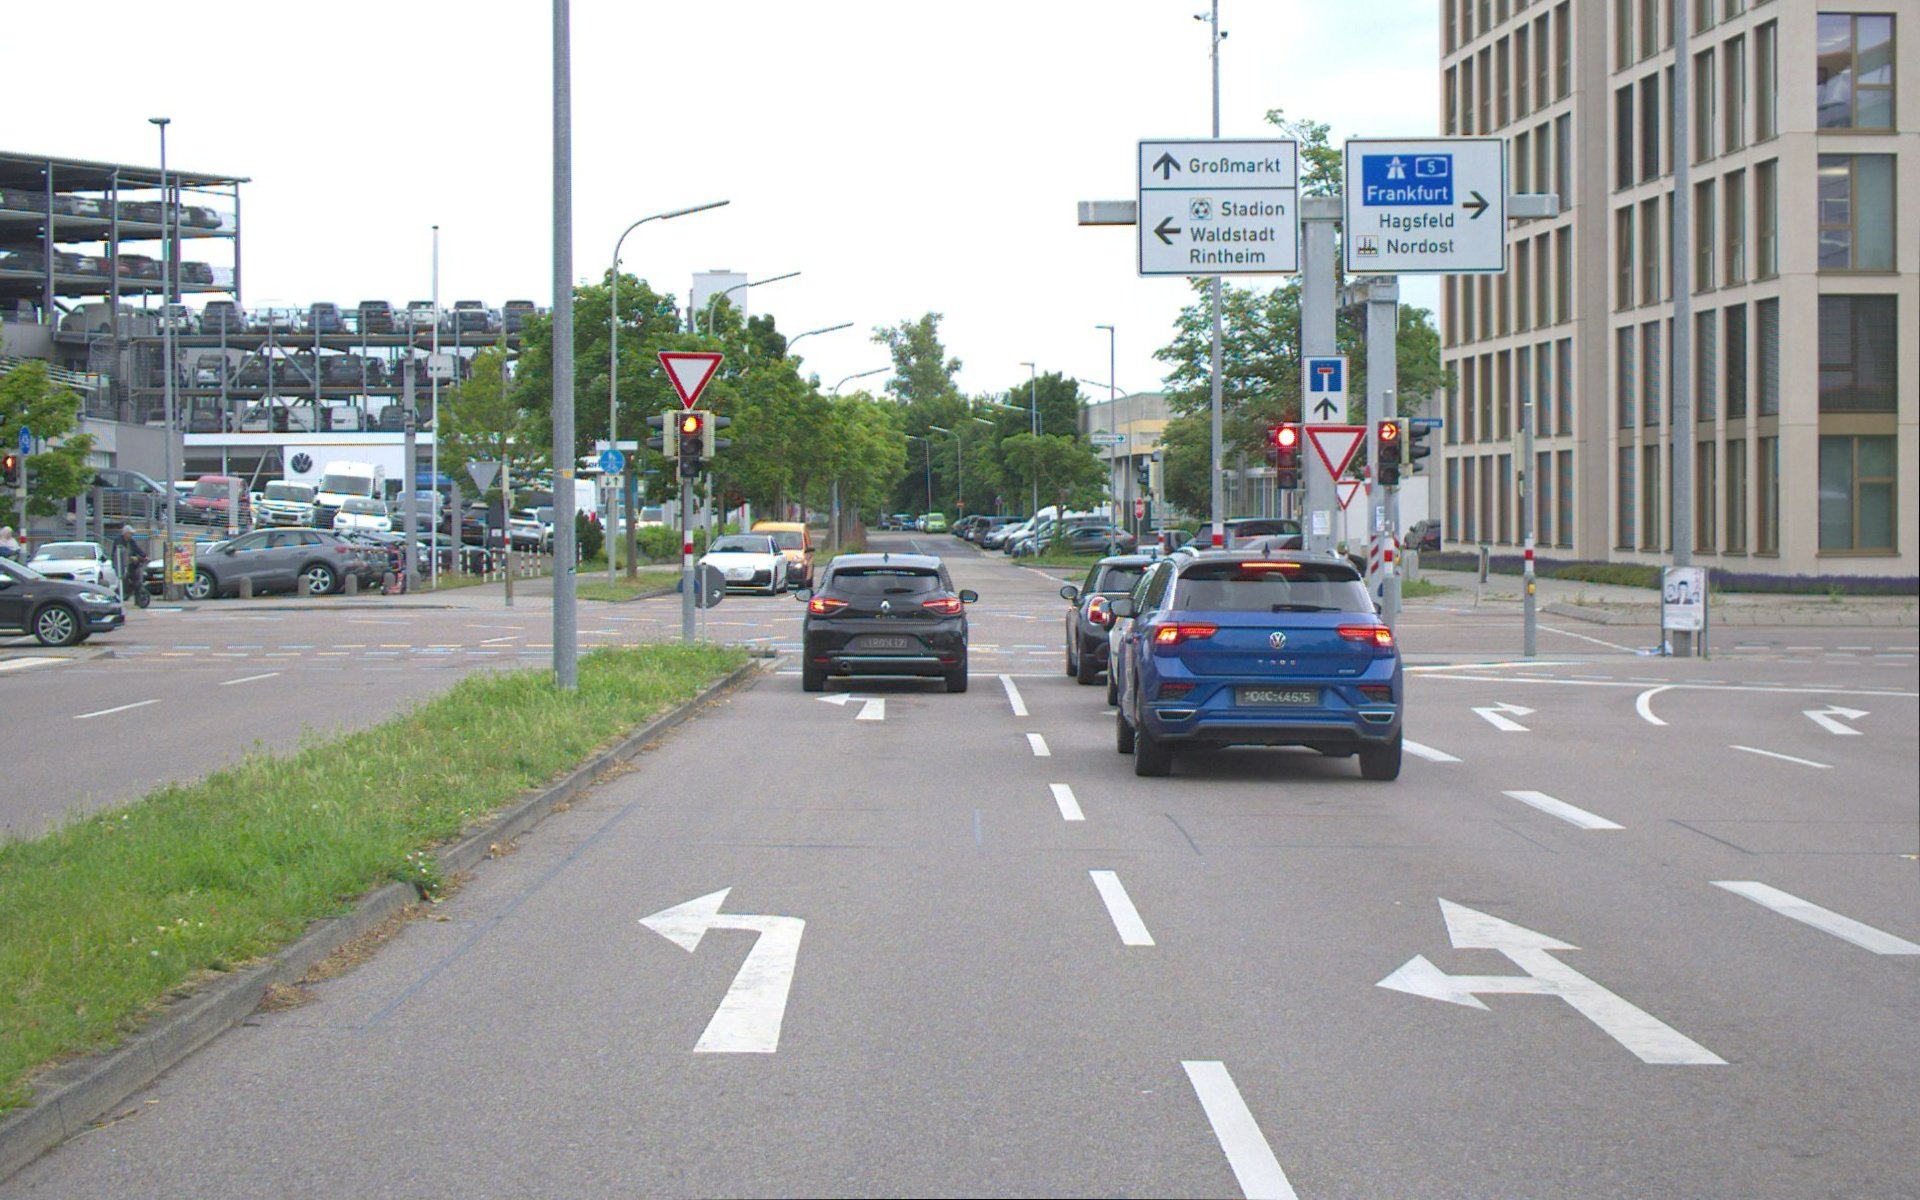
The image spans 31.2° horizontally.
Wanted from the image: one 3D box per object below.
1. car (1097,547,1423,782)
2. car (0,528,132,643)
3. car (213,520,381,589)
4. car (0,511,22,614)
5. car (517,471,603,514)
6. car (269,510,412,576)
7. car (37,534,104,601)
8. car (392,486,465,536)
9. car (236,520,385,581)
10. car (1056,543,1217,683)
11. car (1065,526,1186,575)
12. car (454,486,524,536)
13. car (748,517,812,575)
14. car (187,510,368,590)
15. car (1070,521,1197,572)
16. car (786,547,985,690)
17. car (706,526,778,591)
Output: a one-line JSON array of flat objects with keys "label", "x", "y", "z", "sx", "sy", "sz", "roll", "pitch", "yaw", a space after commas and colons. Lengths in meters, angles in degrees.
[{"label": "car", "x": 2.030, "y": 0.390, "z": 24.365, "sx": 1.834, "sy": 1.509, "sz": 4.000, "roll": 1, "pitch": 1, "yaw": -2}, {"label": "car", "x": -14.531, "y": -0.233, "z": 50.522, "sx": 4.415, "sy": 1.654, "sz": 2.001, "roll": 0, "pitch": 1, "yaw": -8}, {"label": "car", "x": -16.028, "y": -1.112, "z": 83.248, "sx": 3.822, "sy": 1.584, "sz": 1.683, "roll": 0, "pitch": 3, "yaw": -5}, {"label": "car", "x": -17.924, "y": -0.622, "z": 56.998, "sx": 4.401, "sy": 1.638, "sz": 2.001, "roll": -1, "pitch": 3, "yaw": -10}, {"label": "car", "x": -15.651, "y": -4.222, "z": 134.615, "sx": 3.295, "sy": 1.635, "sz": 1.480, "roll": 0, "pitch": 3, "yaw": -4}, {"label": "car", "x": -16.414, "y": -1.519, "z": 91.207, "sx": 3.604, "sy": 1.662, "sz": 1.549, "roll": 0, "pitch": 3, "yaw": -5}, {"label": "car", "x": -19.525, "y": -0.734, "z": 75.454, "sx": 1.370, "sy": 1.321, "sz": 3.035, "roll": -1, "pitch": 3, "yaw": -15}, {"label": "car", "x": -19.222, "y": -3.240, "z": 124.421, "sx": 1.776, "sy": 1.700, "sz": 3.916, "roll": 0, "pitch": 3, "yaw": 4}, {"label": "car", "x": -16.514, "y": -1.261, "z": 87.504, "sx": 3.604, "sy": 1.471, "sz": 1.549, "roll": 0, "pitch": 3, "yaw": -5}, {"label": "car", "x": 1.945, "y": 0.115, "z": 38.575, "sx": 1.524, "sy": 1.427, "sz": 3.391, "roll": 0, "pitch": 2, "yaw": -2}, {"label": "car", "x": 5.394, "y": -1.625, "z": 112.038, "sx": 3.607, "sy": 1.473, "sz": 1.758, "roll": 1, "pitch": 3, "yaw": 19}, {"label": "car", "x": -17.032, "y": -3.242, "z": 124.492, "sx": 1.776, "sy": 1.700, "sz": 3.916, "roll": 0, "pitch": 3, "yaw": 4}, {"label": "car", "x": -4.836, "y": -1.472, "z": 92.661, "sx": 1.600, "sy": 1.448, "sz": 3.325, "roll": 0, "pitch": 3, "yaw": -1}, {"label": "car", "x": -15.952, "y": -1.192, "z": 80.551, "sx": 3.986, "sy": 1.784, "sz": 1.848, "roll": 0, "pitch": 3, "yaw": -5}, {"label": "car", "x": 5.356, "y": -1.672, "z": 106.109, "sx": 3.606, "sy": 1.473, "sz": 1.759, "roll": 1, "pitch": 3, "yaw": 18}, {"label": "car", "x": -0.859, "y": 0.151, "z": 36.887, "sx": 1.987, "sy": 1.423, "sz": 4.242, "roll": 0, "pitch": 1, "yaw": -3}, {"label": "car", "x": -5.353, "y": -1.028, "z": 84.518, "sx": 1.600, "sy": 1.448, "sz": 3.325, "roll": 0, "pitch": 3, "yaw": -1}]
